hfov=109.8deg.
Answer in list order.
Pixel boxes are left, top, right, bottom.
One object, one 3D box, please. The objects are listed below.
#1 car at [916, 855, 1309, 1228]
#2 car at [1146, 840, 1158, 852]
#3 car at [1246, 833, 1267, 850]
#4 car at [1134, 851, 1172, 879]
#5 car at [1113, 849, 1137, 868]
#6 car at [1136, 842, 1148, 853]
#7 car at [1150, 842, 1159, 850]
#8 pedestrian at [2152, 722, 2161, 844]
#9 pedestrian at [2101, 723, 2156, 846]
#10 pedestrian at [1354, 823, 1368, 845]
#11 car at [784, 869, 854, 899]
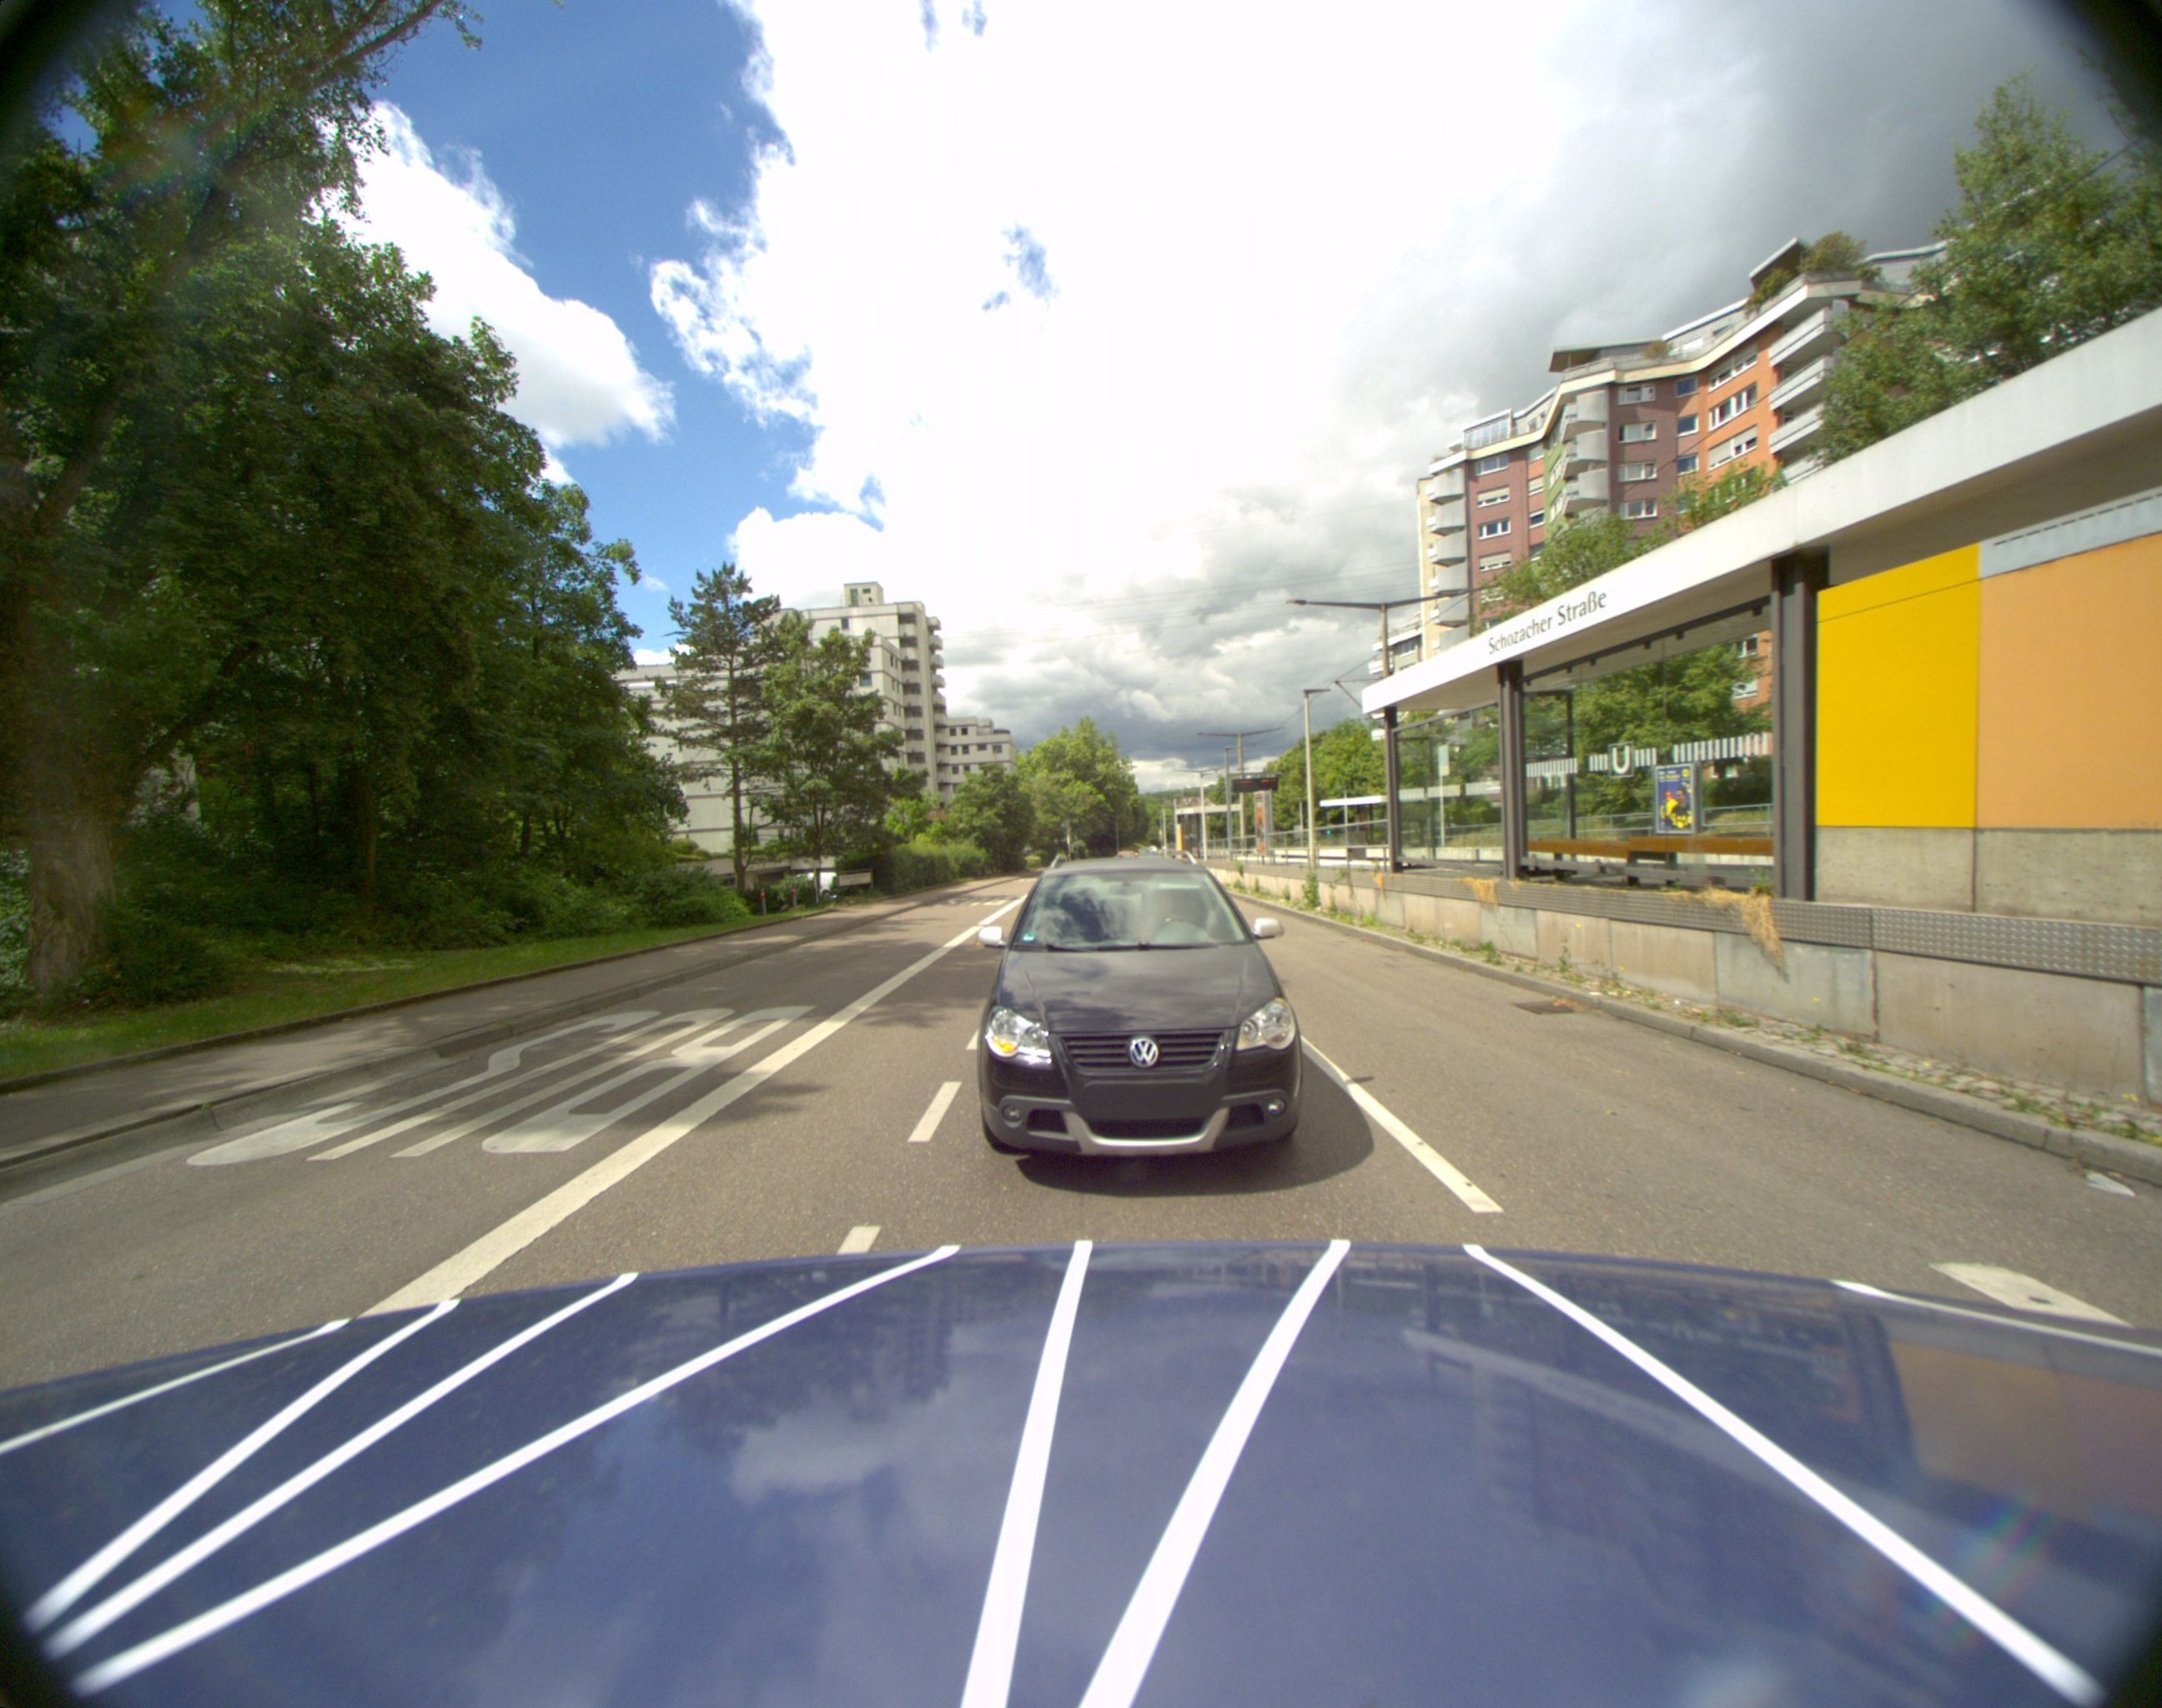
[{"bbox_3d":[0.225,0.827,5.294,1.641,1.521,4.000,-2,1,3],"label":"car"},{"bbox_3d":[13.647,-1.558,145.992,1.997,2.002,4.001,-3,1,6],"label":"car"},{"bbox_3d":[22.151,-1.593,96.139,1.737,2.002,4.000,-2,1,2],"label":"car"},{"bbox_3d":[3.889,0.557,41.627,1.821,1.377,4.065,-2,1,2],"label":"car"},{"bbox_3d":[3.541,0.327,62.163,1.821,1.377,4.065,-2,1,2],"label":"car"},{"bbox_3d":[8.823,-0.961,110.018,1.643,1.395,3.708,-2,1,4],"label":"car"},{"bbox_3d":[16.083,-1.716,167.068,1.801,1.698,4.001,-3,1,6],"label":"car"},{"bbox_3d":[15.404,-1.000,10.559,0.387,1.703,0.550,-3,2,-41],"label":"pedestrian"},{"bbox_3d":[14.998,-0.983,10.887,0.354,1.703,0.426,-3,2,-41],"label":"pedestrian"},{"bbox_3d":[16.121,-1.140,43.714,0.536,1.270,0.562,-2,1,1],"label":"pedestrian"},{"bbox_3d":[-19.893,2.236,57.793,4.543,2.002,2.001,-2,1,7],"label":"car"}]
